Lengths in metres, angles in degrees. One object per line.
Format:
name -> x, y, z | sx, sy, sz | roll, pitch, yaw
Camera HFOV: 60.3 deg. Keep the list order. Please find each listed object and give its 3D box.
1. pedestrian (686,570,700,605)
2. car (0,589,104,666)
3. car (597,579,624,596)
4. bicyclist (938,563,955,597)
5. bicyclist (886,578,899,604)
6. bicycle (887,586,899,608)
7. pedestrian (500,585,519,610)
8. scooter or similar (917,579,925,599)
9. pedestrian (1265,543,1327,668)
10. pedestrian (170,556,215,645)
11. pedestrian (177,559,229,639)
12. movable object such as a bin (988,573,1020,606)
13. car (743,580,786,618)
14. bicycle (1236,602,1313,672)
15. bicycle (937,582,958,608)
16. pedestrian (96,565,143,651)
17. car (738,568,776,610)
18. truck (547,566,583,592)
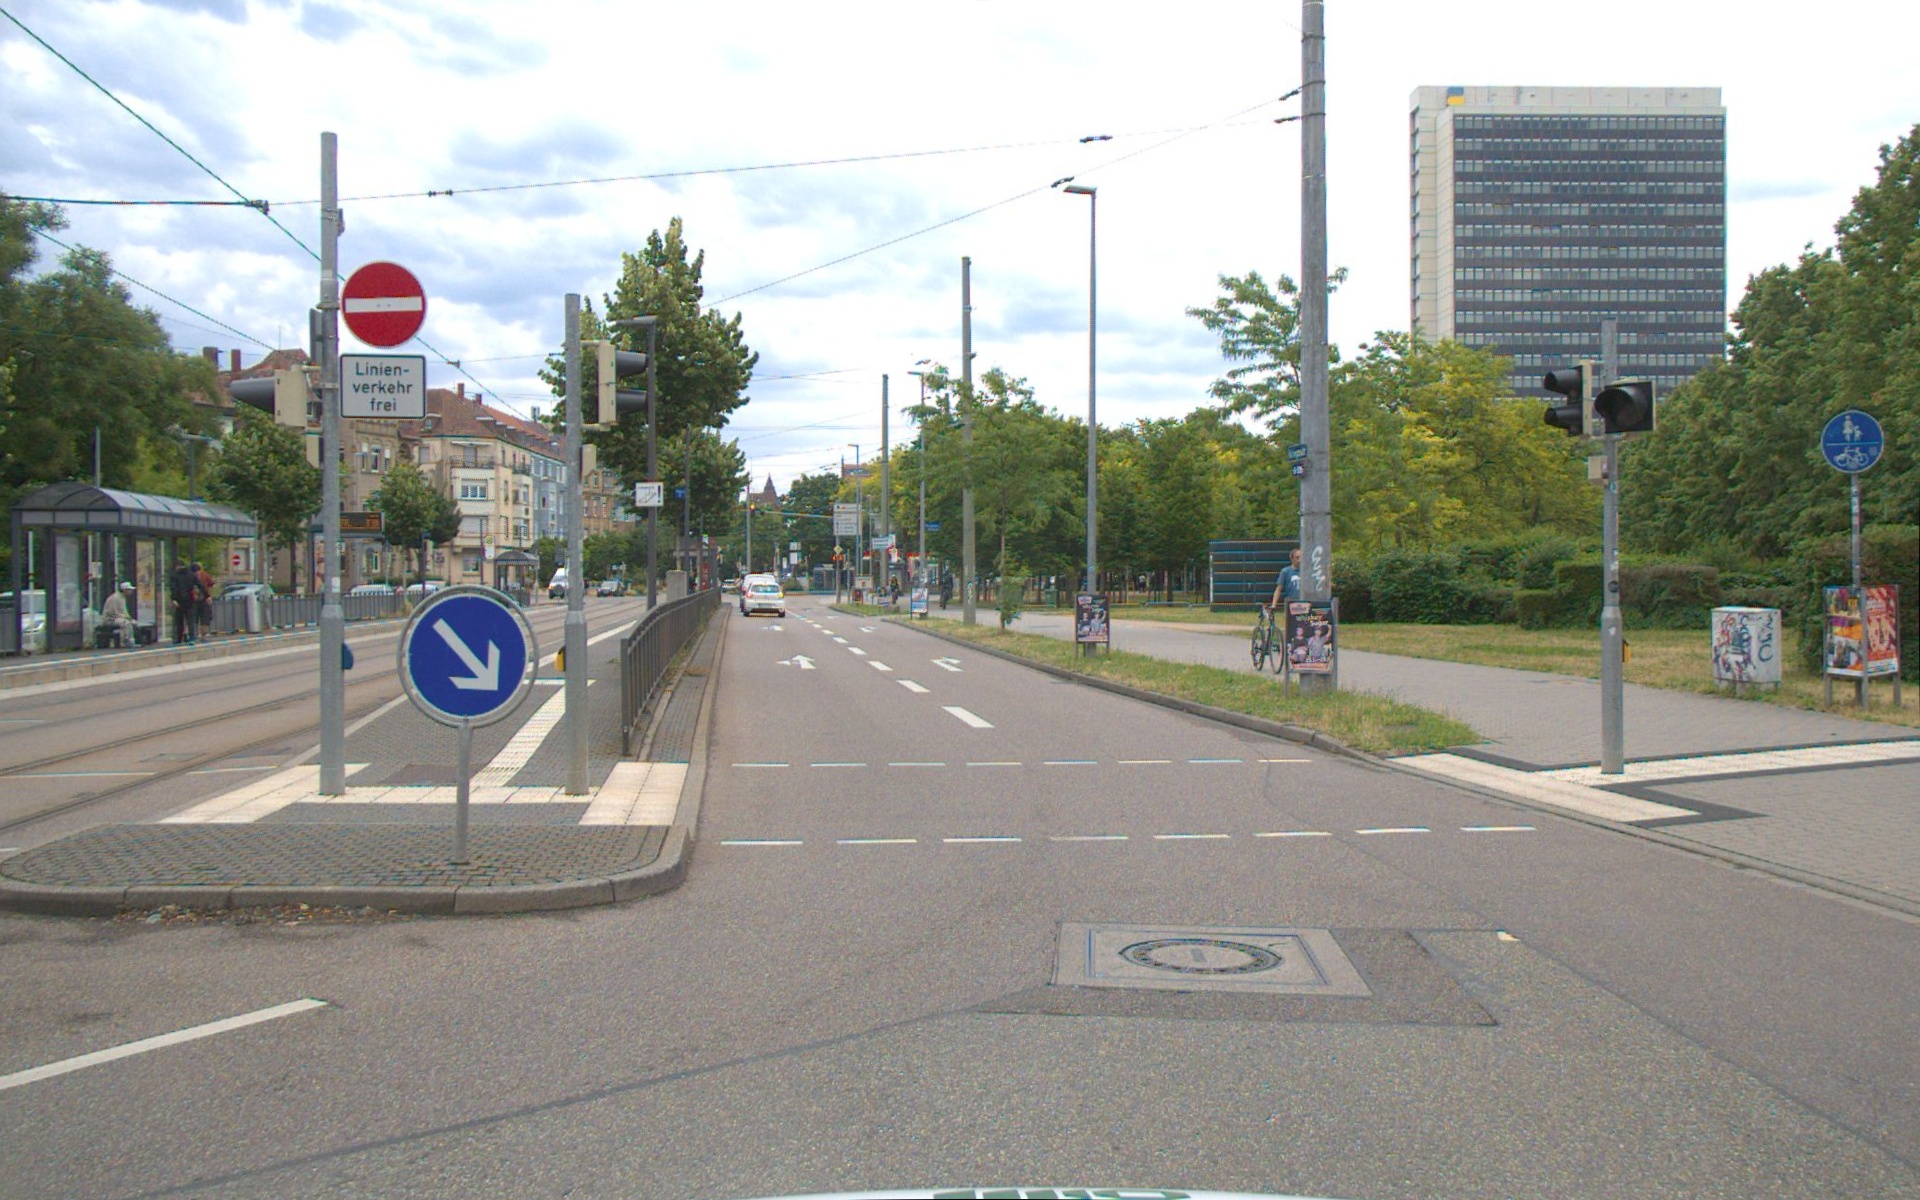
pedestrian -> -11.749, -0.561, 72.764 | 0.565, 1.507, 0.616 | -1, 1, -10
car -> -19.704, 0.541, 34.850 | 1.737, 1.519, 3.880 | -1, 0, -8
car -> -31.633, -1.096, 149.824 | 1.734, 1.519, 3.886 | -1, 0, -2
bicyclist -> -0.629, -0.938, 78.117 | 0.667, 1.564, 0.671 | -1, 1, -11
bicyclist -> -3.630, -0.475, 89.210 | 0.665, 1.403, 0.727 | -1, 1, -3
bicycle -> -3.612, -0.170, 89.206 | 0.665, 1.175, 1.897 | -1, 1, -2
pedestrian -> -23.736, -0.135, 87.131 | 0.849, 1.289, 0.692 | -1, 1, -10
scooter or similar -> -2.310, -0.644, 98.503 | 0.368, 1.161, 1.200 | -1, 1, 3
pedestrian -> 5.186, 0.078, 25.572 | 0.726, 1.902, 0.681 | -1, 0, -9
pedestrian -> -15.290, 0.005, 32.975 | 0.688, 1.745, 0.696 | -1, 0, -16
pedestrian -> -16.314, -0.019, 35.682 | 0.754, 1.689, 1.022 | -1, 1, -11
movable object such as a bin -> 1.940, -0.451, 72.669 | 1.258, 1.414, 1.157 | -1, 0, -7
car -> -8.217, -0.065, 69.811 | 1.748, 1.498, 4.005 | 0, 1, -6
bicycle -> 4.871, 0.552, 25.726 | 0.642, 1.020, 1.776 | -1, 1, -8
bicycle -> -0.612, -0.233, 78.080 | 0.667, 1.175, 1.893 | -1, 1, -10
pedestrian -> -16.504, 0.156, 32.484 | 0.620, 1.652, 0.678 | -1, 0, -11
car -> -10.036, -0.554, 81.497 | 1.749, 1.997, 4.374 | 0, 1, -8
truck -> -32.261, -1.716, 135.147 | 1.751, 2.068, 5.394 | -1, 0, -2
